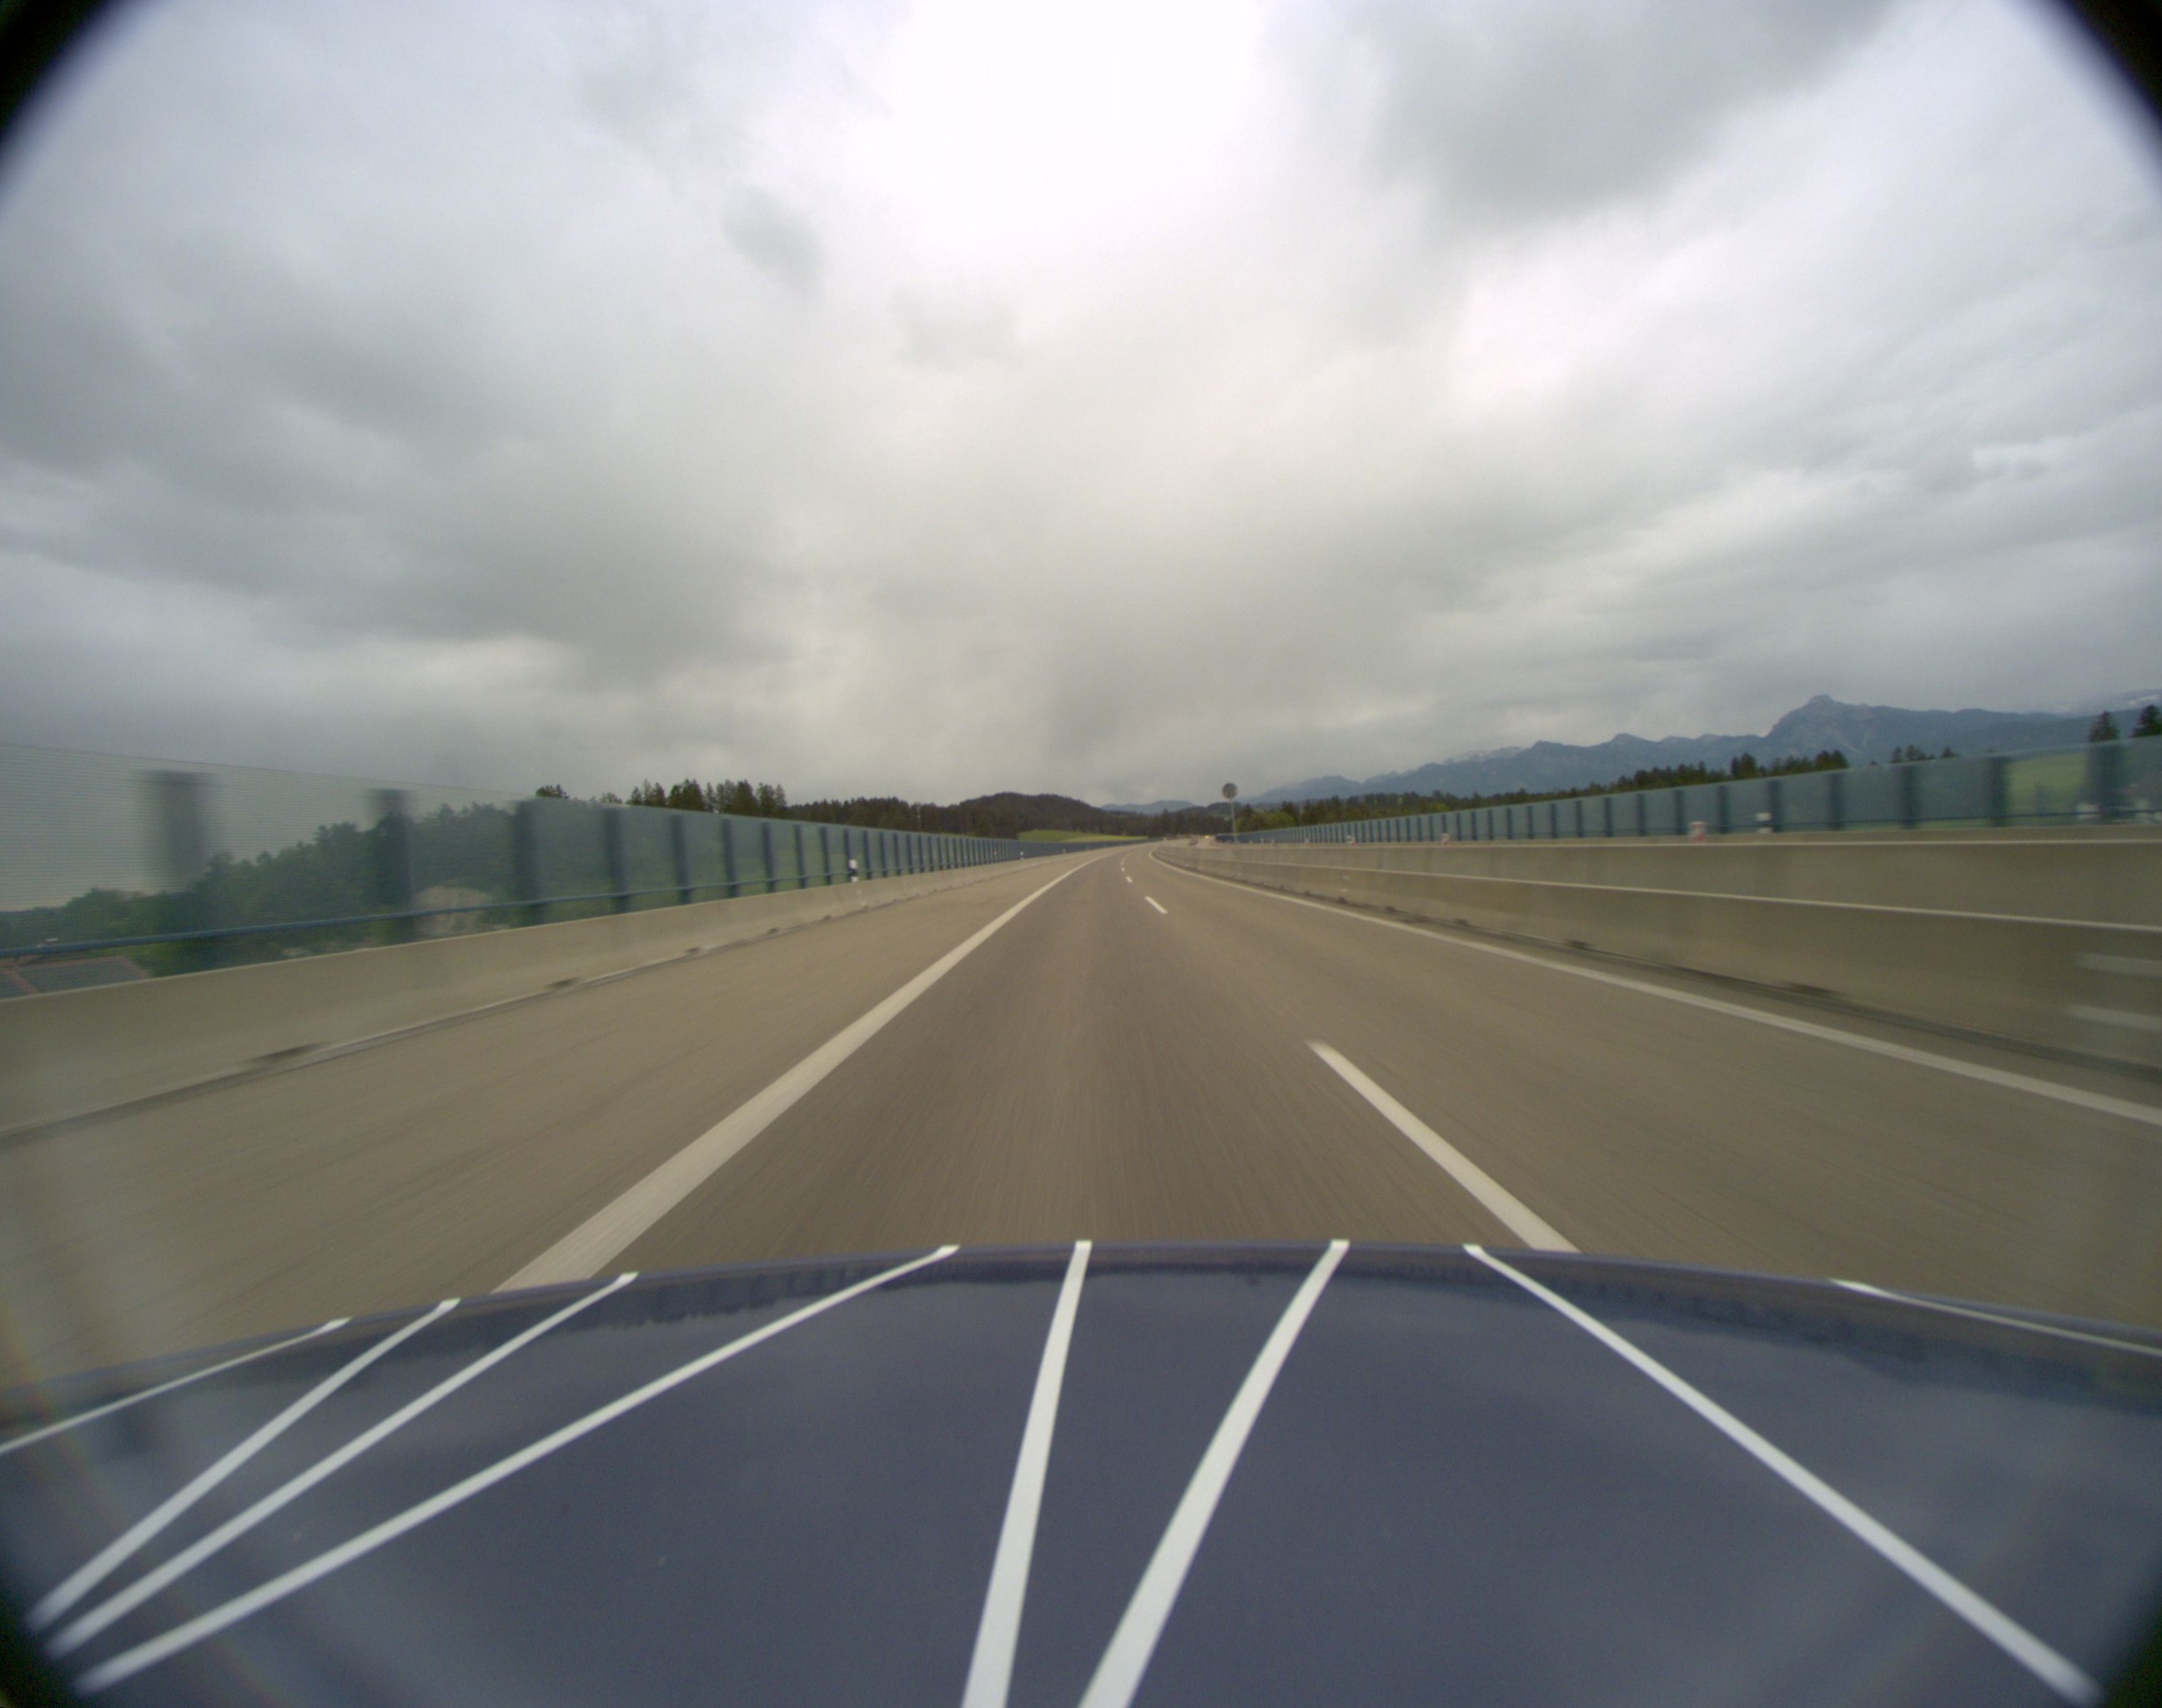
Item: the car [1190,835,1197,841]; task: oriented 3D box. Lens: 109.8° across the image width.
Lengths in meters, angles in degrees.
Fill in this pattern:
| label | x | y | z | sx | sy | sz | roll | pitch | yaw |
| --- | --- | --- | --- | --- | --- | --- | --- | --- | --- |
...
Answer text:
| label | x | y | z | sx | sy | sz | roll | pitch | yaw |
| --- | --- | --- | --- | --- | --- | --- | --- | --- | --- |
| car | 34.750 | -4.901 | 234.616 | 1.896 | 1.740 | 4.135 | -1 | 1 | 9 |
